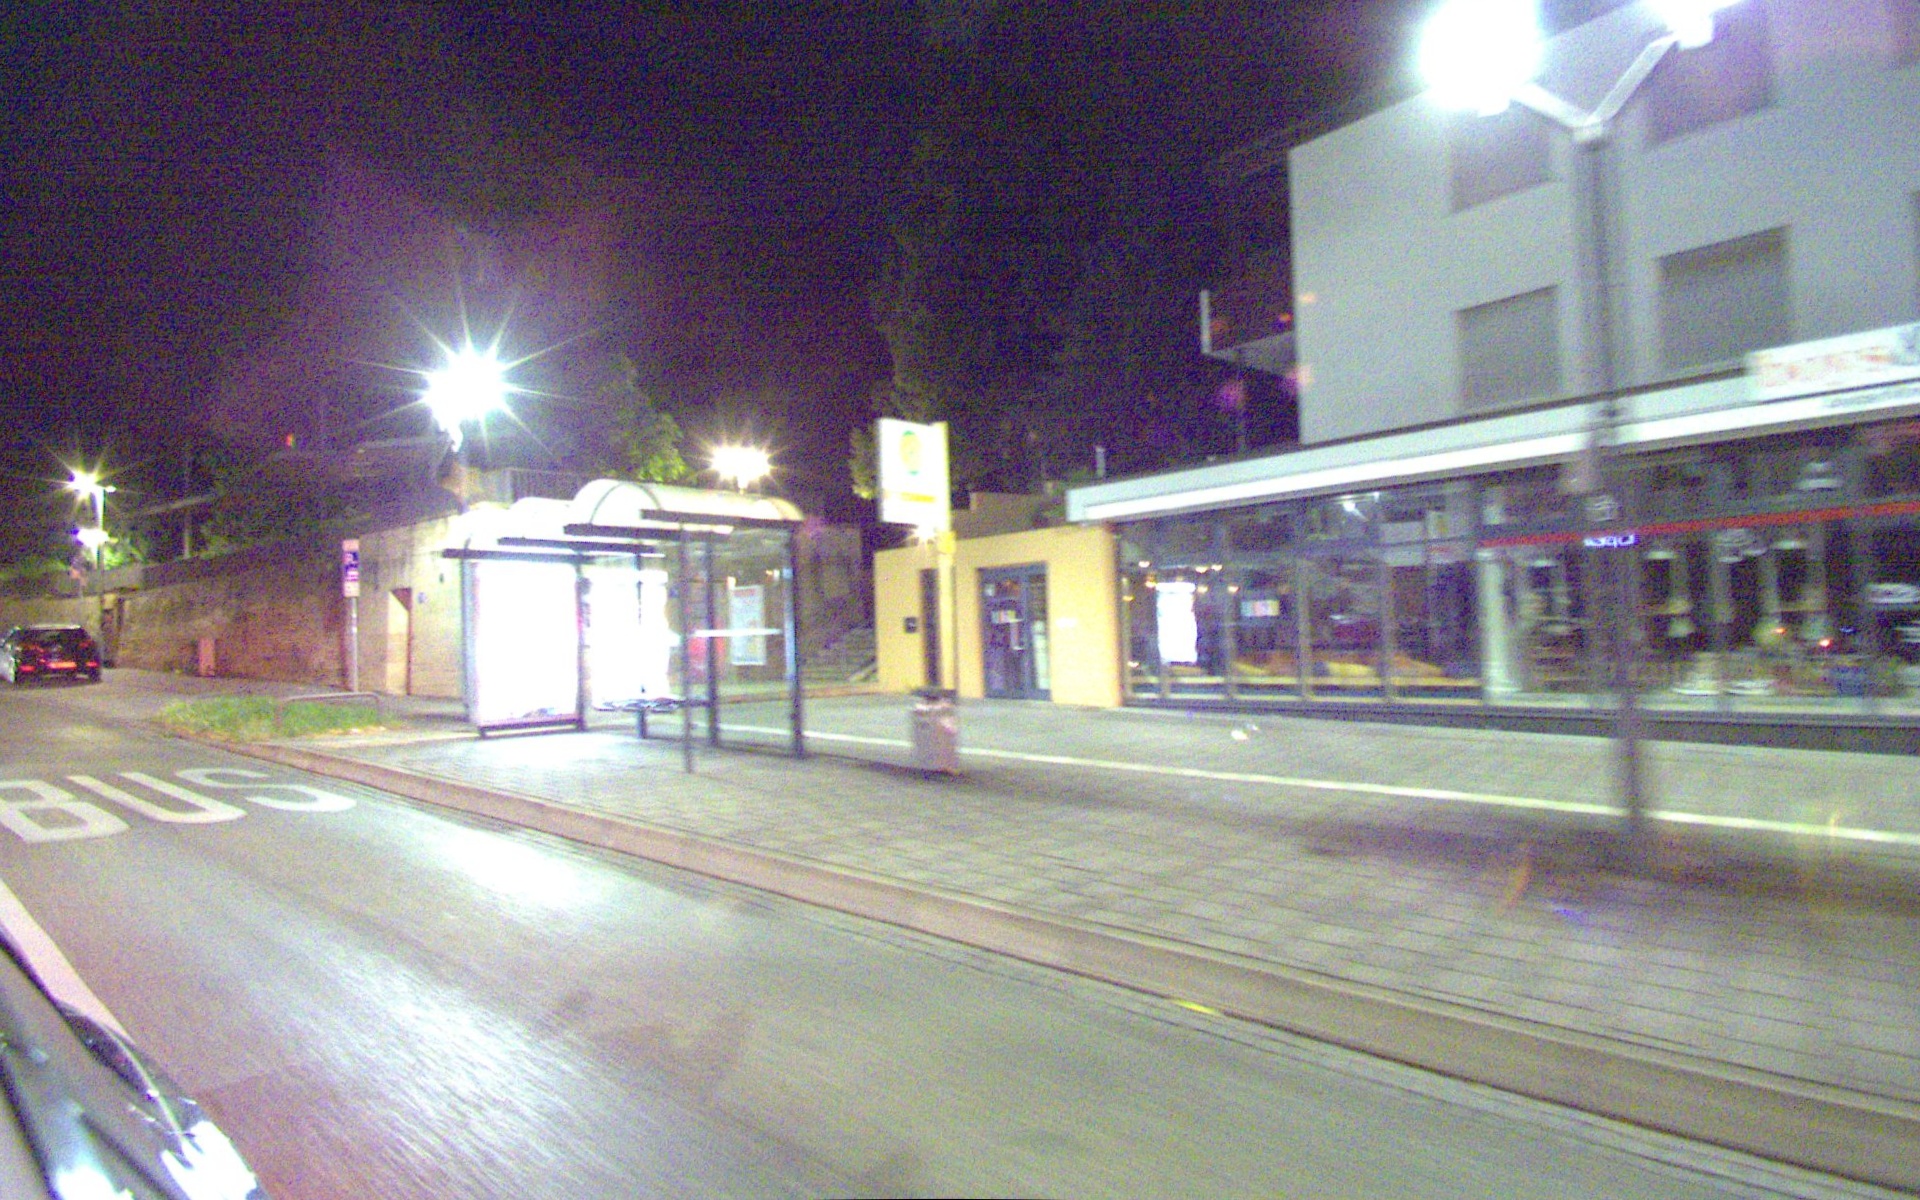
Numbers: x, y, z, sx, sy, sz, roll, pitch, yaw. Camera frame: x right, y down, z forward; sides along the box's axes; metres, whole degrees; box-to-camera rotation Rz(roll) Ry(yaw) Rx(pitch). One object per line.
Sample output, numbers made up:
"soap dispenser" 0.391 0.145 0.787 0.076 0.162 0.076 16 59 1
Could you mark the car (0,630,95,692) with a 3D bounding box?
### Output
"car" -24.451 1.559 26.728 4.123 1.447 1.675 -1 0 39
